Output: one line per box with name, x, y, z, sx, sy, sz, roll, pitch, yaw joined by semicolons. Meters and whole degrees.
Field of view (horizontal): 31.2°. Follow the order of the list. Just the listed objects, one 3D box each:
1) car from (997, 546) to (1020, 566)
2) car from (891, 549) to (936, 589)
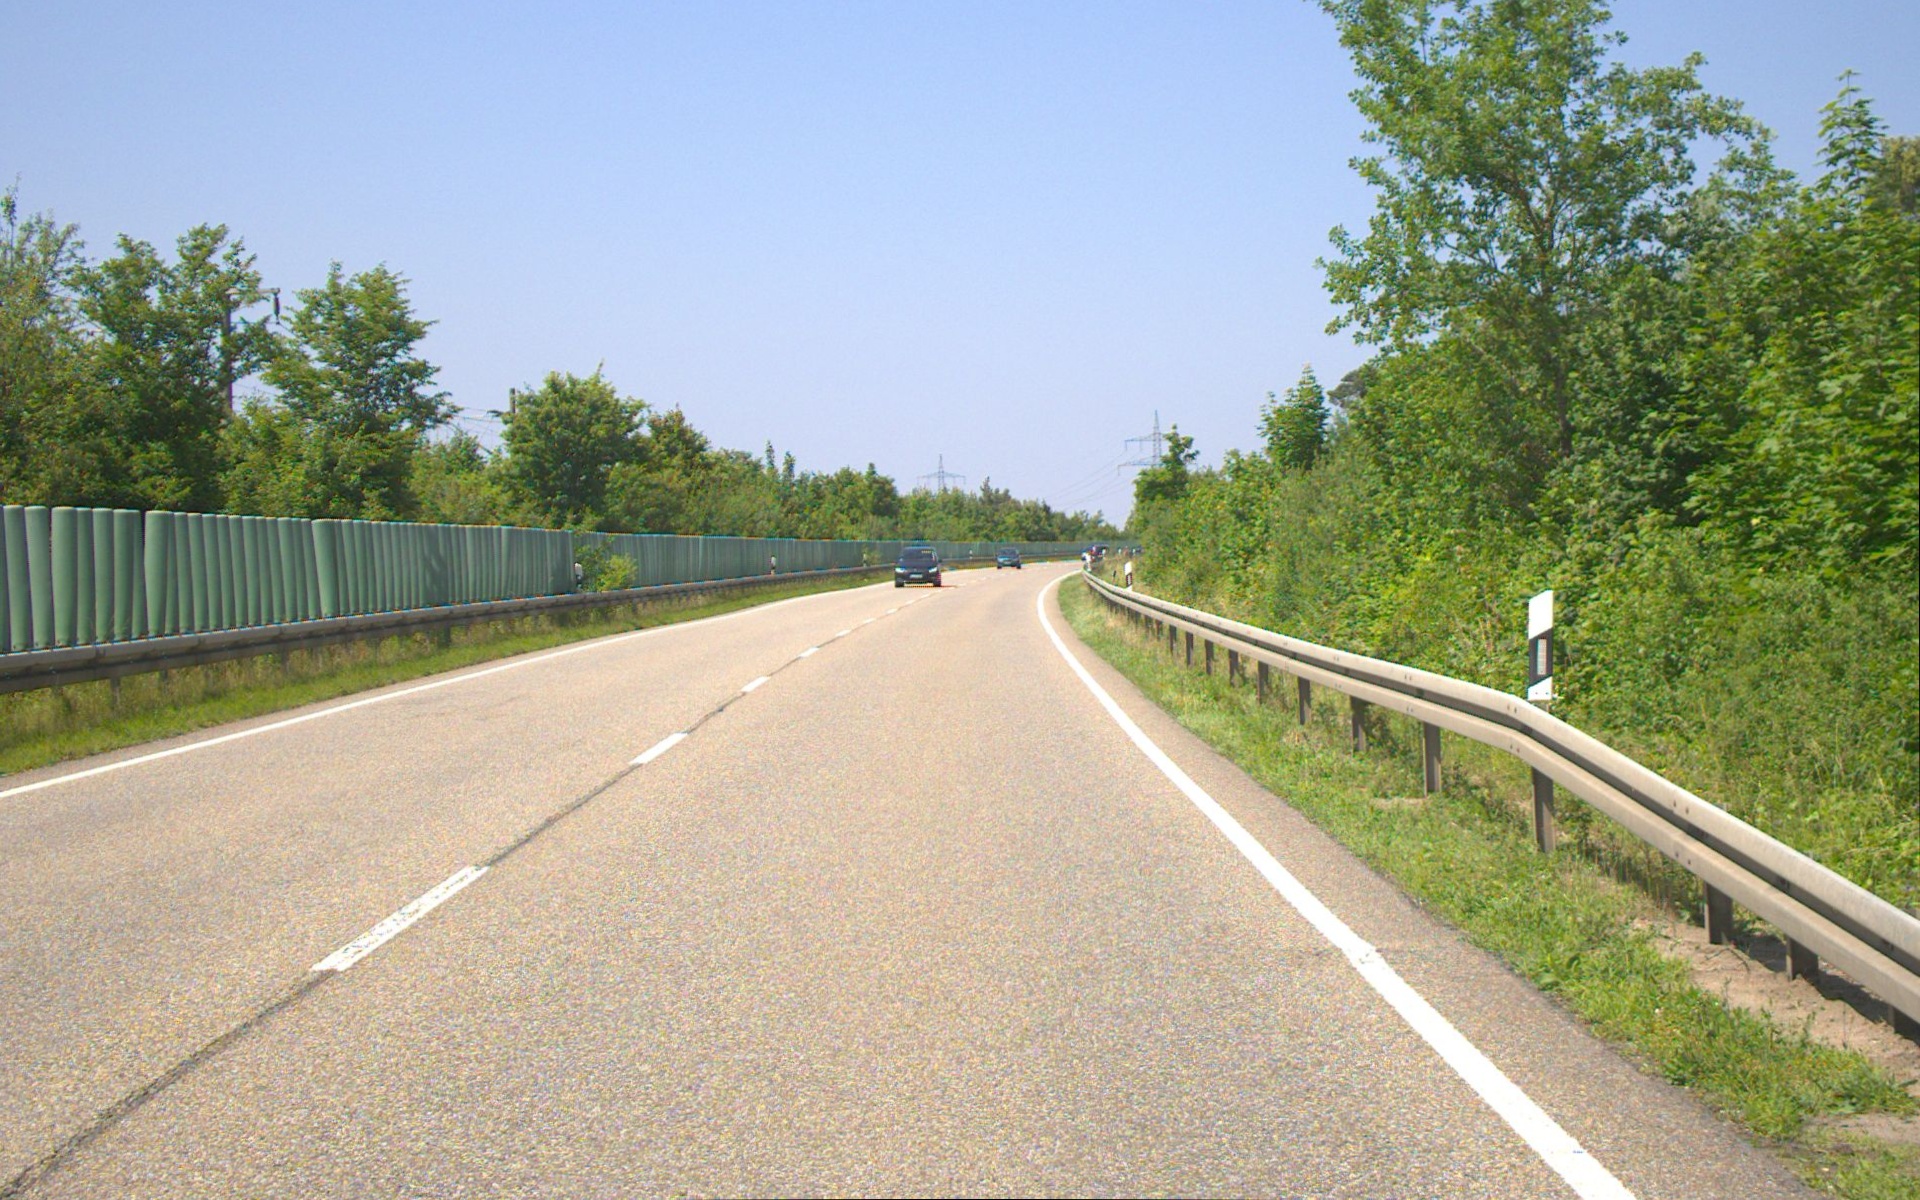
car;3.480;-3.172;247.678;1.648;1.474;3.677;0;1;1
car;-1.890;-1.279;141.504;1.764;1.634;4.126;0;1;0
